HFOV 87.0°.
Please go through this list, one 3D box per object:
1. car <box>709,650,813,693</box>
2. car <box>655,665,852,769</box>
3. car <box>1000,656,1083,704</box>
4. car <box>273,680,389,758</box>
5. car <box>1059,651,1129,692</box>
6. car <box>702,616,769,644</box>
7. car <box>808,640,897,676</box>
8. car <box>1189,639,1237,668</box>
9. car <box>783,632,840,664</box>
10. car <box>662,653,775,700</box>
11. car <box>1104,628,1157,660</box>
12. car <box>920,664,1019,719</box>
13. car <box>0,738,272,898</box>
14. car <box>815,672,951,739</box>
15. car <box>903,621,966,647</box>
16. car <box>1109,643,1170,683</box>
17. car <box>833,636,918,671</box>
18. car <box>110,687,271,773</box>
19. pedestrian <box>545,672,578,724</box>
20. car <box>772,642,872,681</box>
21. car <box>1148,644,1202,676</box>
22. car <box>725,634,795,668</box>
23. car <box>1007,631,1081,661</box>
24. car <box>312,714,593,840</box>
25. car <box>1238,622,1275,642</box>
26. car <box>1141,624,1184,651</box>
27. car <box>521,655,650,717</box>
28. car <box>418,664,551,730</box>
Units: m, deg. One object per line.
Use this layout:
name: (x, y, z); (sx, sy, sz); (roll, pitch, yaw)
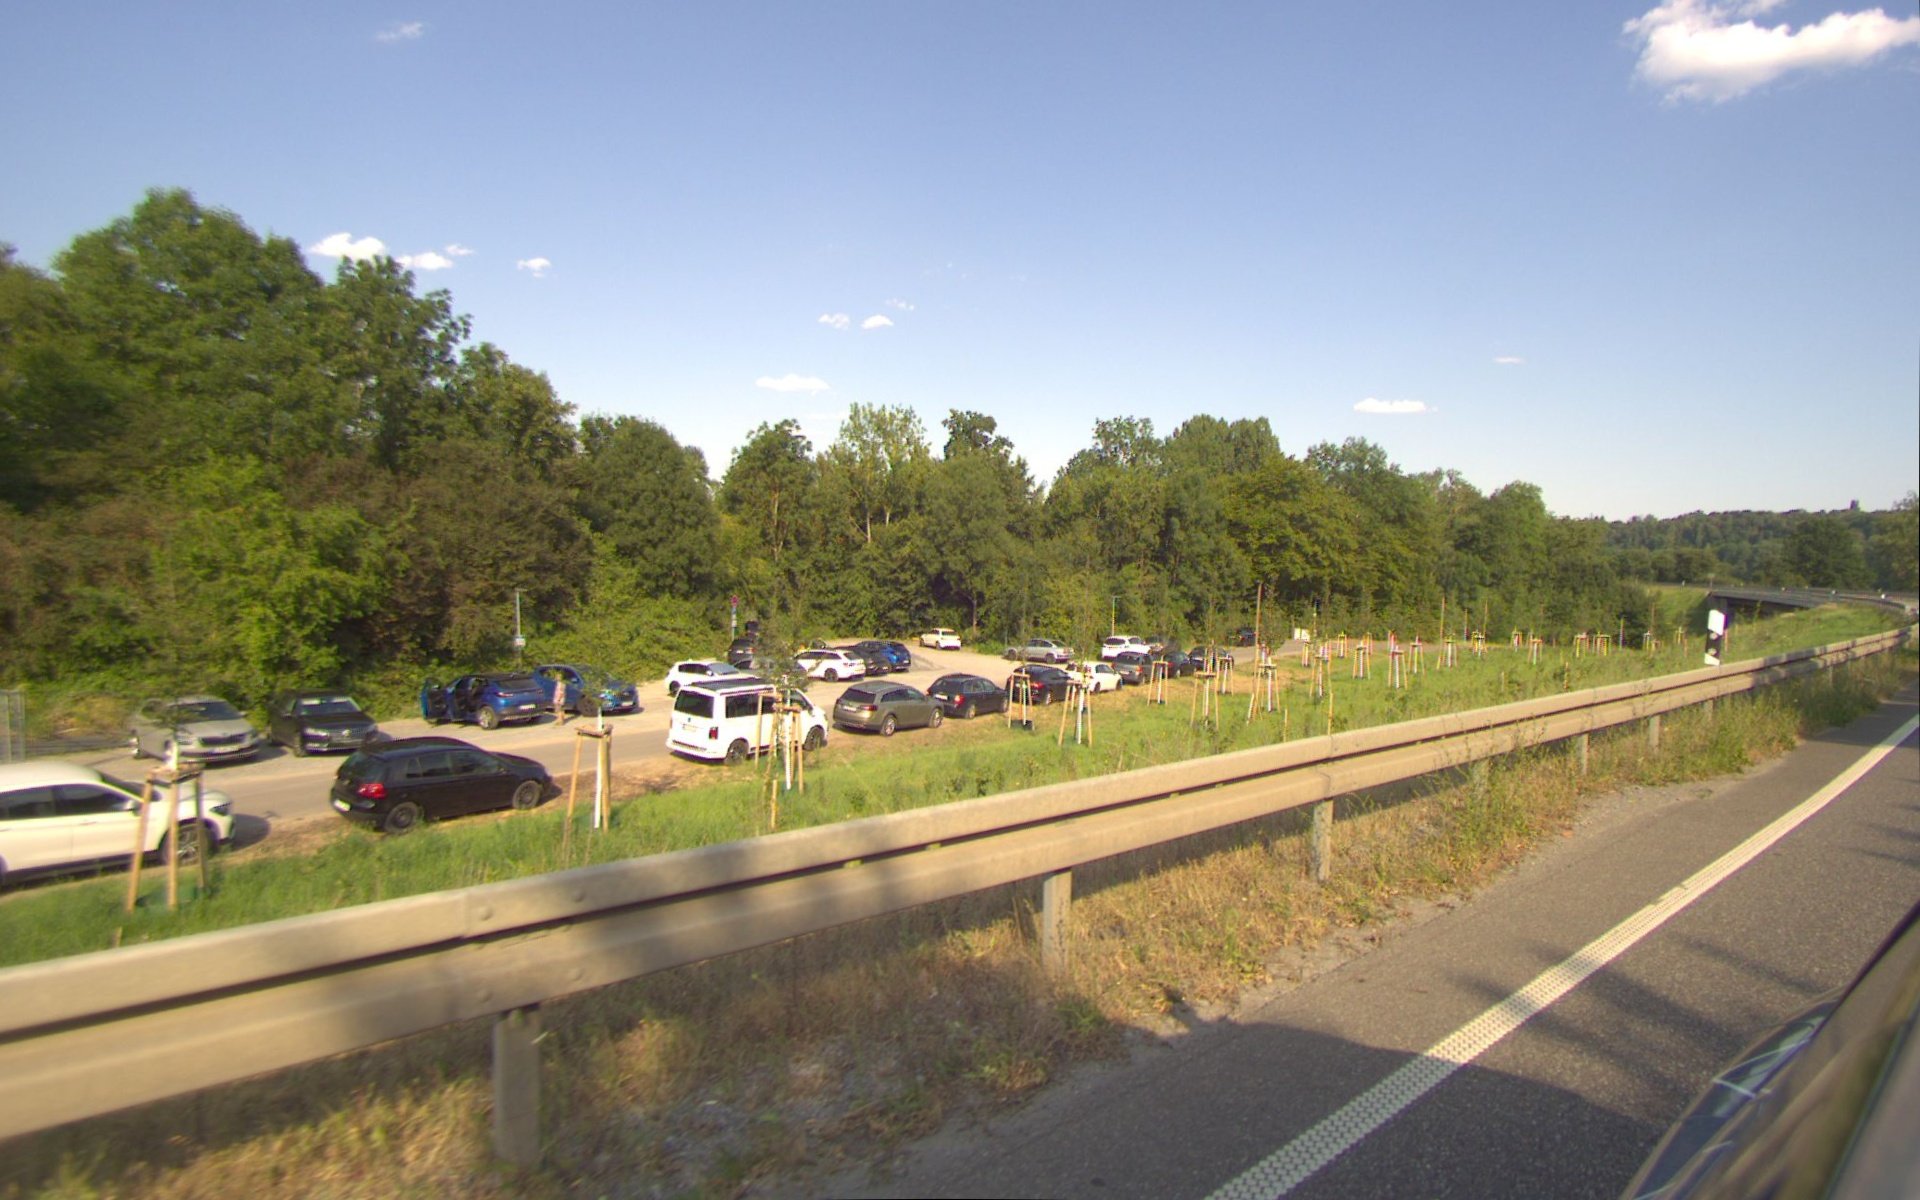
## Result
car: (-8.271, 2.947, 42.003); (4.205, 1.474, 1.603); (1, 1, 27)
car: (-5.495, 3.056, 27.663); (2.111, 2.042, 5.317); (6, 3, 32)
car: (3.461, 3.293, 42.277); (1.807, 1.500, 4.352); (4, 2, 28)
car: (-16.398, 2.997, 26.296); (1.802, 1.509, 4.239); (3, -1, -42)
car: (6.237, 3.258, 46.828); (1.807, 1.500, 4.215); (4, 2, 28)
car: (-14.879, 1.950, 66.919); (4.207, 1.473, 1.602); (5, 2, 27)
car: (-5.329, 2.836, 50.246); (4.205, 1.474, 1.602); (2, 1, 27)
car: (15.542, 3.242, 62.029); (1.647, 1.515, 4.175); (2, 1, 31)
car: (-8.058, 2.573, 55.260); (1.481, 1.474, 3.650); (3, 1, 21)
car: (-9.482, 2.956, 39.627); (4.206, 1.517, 1.755); (1, 0, 28)
car: (10.880, 2.756, 64.372); (1.648, 1.687, 4.654); (2, 2, 33)
car: (0.410, 3.319, 37.380); (1.807, 1.500, 4.352); (4, 2, 28)
car: (-13.742, 3.345, 15.679); (1.885, 1.578, 4.727); (6, 3, 32)
car: (-2.385, 3.327, 32.716); (1.885, 1.500, 4.727); (6, 3, 32)
car: (-1.784, 2.317, 69.692); (4.226, 1.474, 1.689); (2, 1, 39)
car: (9.319, 3.199, 52.257); (1.807, 1.679, 4.215); (4, 2, 28)
car: (-4.452, 2.786, 52.909); (4.206, 1.474, 1.602); (3, 1, 27)
car: (-18.638, 3.055, 24.466); (4.216, 1.508, 1.812); (1, 1, 33)
pedestrian: (-12.430, 3.041, 31.530); (0.870, 1.489, 0.924); (3, 2, -23)
car: (-6.477, 2.851, 47.361); (4.366, 1.474, 1.721); (2, 0, 23)
car: (12.070, 3.314, 56.693); (1.807, 1.418, 4.215); (4, 2, 28)
car: (-10.538, 2.683, 53.634); (1.598, 1.474, 4.217); (3, 1, 21)
car: (5.056, 2.740, 61.264); (4.216, 1.474, 1.598); (3, 1, 33)
car: (-9.979, 3.400, 20.319); (1.885, 1.500, 4.727); (6, 3, 32)
car: (26.120, 2.779, 89.255); (1.626, 1.515, 3.692); (1, 2, -9)
car: (13.878, 2.540, 69.186); (1.646, 1.515, 4.179); (2, 2, 30)
car: (-12.858, 2.898, 34.714); (4.207, 1.764, 1.816); (1, 0, 28)
car: (-14.904, 2.974, 31.673); (4.215, 1.624, 1.813); (1, 1, 33)
